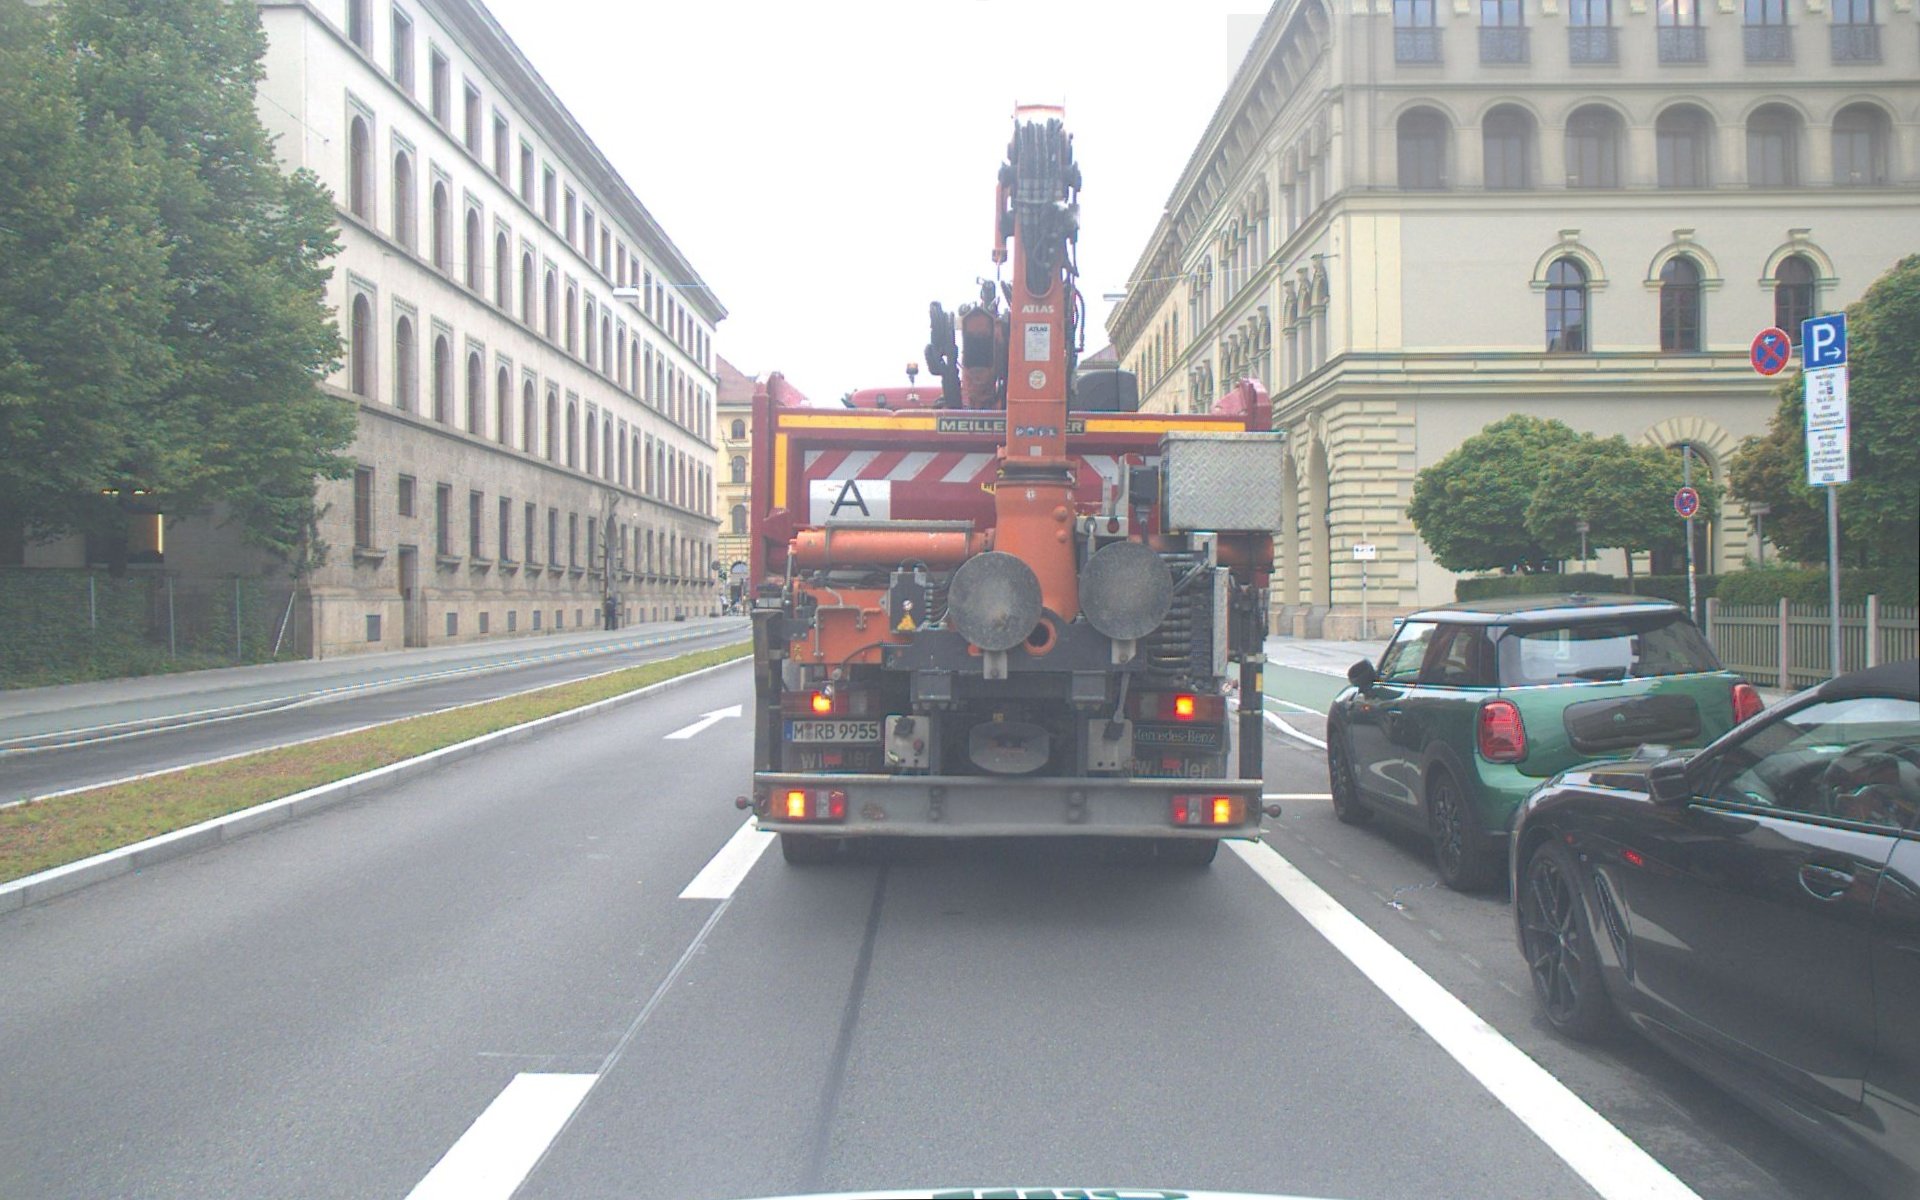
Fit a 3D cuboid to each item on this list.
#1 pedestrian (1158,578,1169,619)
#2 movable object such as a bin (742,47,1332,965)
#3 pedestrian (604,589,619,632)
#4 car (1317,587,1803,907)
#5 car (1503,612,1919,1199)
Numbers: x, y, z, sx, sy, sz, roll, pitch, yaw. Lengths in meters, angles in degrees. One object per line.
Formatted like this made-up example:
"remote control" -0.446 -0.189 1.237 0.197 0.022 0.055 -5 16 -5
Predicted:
"pedestrian" 9.406 -0.079 76.477 0.436 1.868 0.556 -1 0 1
"movable object such as a bin" 0.257 -0.394 9.579 2.374 3.674 5.850 0 0 -1
"pedestrian" -15.500 0.465 73.555 0.577 1.863 0.498 0 0 -2
"car" 3.265 0.698 9.686 1.577 1.521 3.424 -1 0 0
"car" 2.871 0.766 4.004 1.646 1.410 4.426 0 0 0
